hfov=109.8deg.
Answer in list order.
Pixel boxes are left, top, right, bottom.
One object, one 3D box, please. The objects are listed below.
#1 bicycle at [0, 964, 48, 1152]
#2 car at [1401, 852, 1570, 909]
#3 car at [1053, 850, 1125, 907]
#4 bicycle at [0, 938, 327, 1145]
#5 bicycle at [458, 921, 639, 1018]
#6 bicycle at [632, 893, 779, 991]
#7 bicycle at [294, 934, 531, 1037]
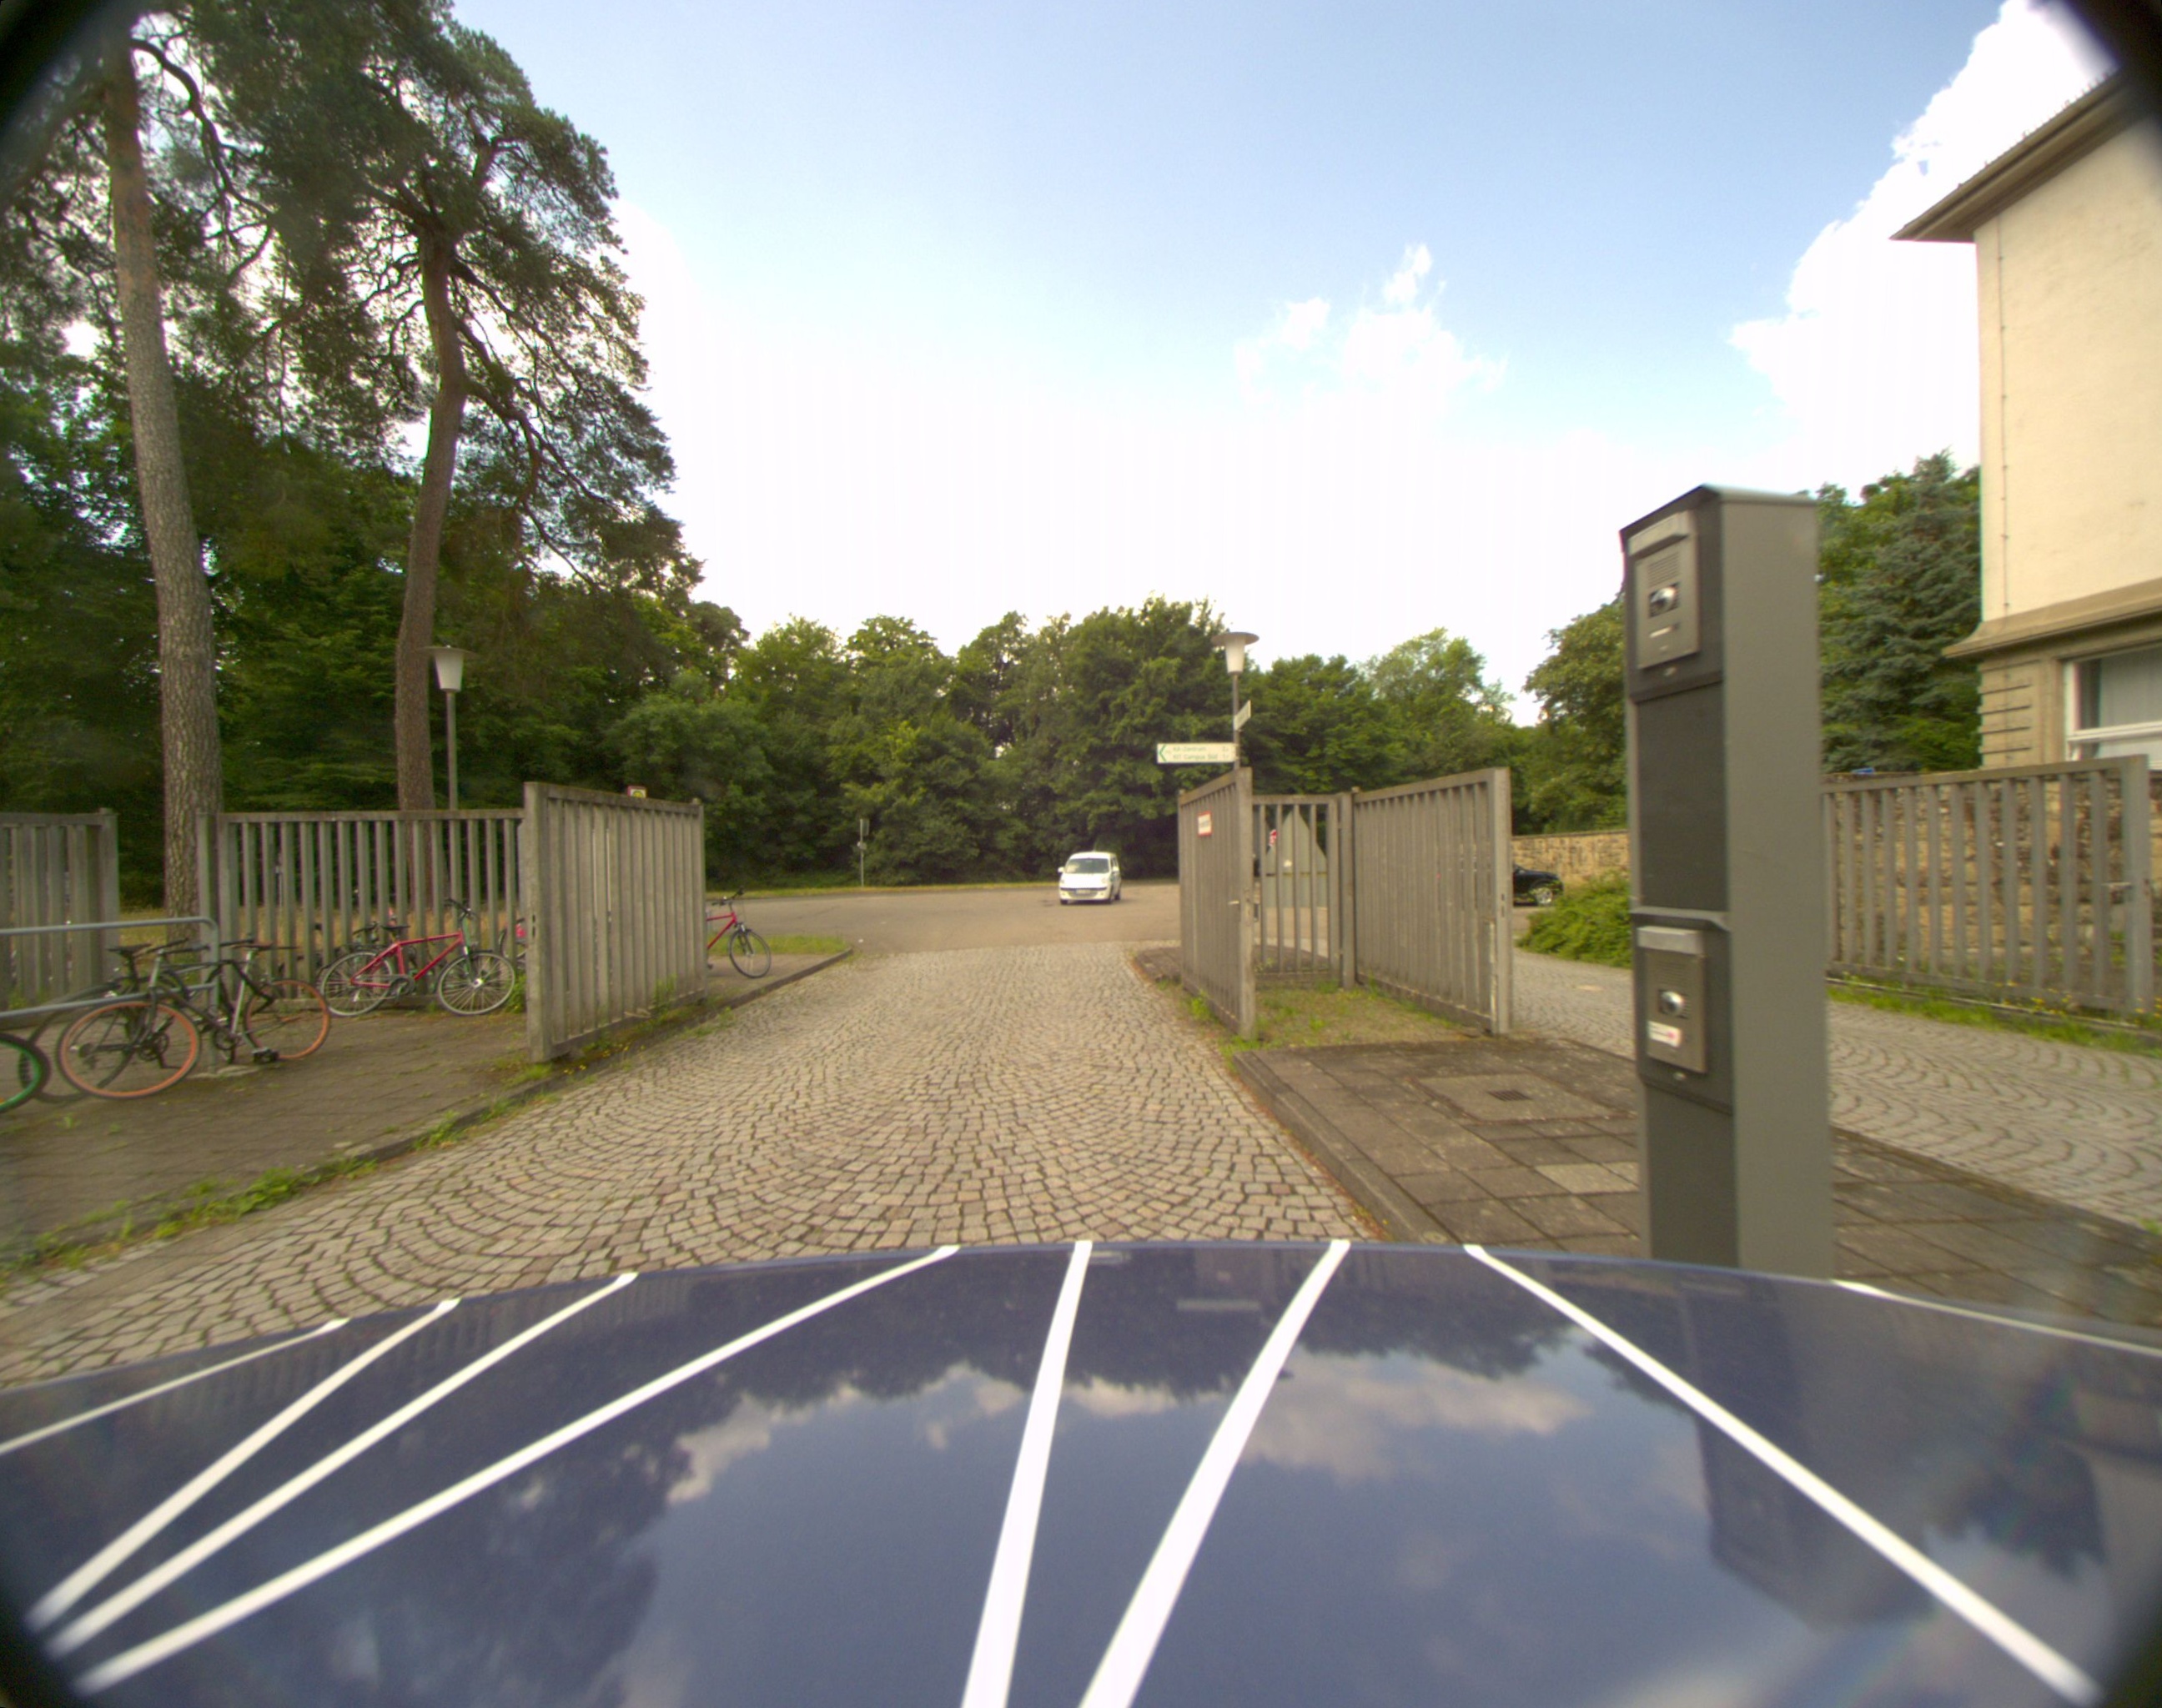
[{"bbox_3d":[-6.544,1.195,3.773,0.692,1.056,1.565,-1,0,-3],"label":"bicycle"},{"bbox_3d":[11.835,0.751,22.435,3.996,1.508,1.802,-2,0,3],"label":"car"},{"bbox_3d":[0.367,0.791,26.593,1.865,1.749,4.151,-1,1,10],"label":"car"},{"bbox_3d":[-6.485,1.228,5.450,0.474,1.051,1.732,-1,0,-3],"label":"bicycle"},{"bbox_3d":[-5.976,1.289,8.565,1.730,1.027,0.387,0,0,-2],"label":"bicycle"},{"bbox_3d":[-5.096,1.176,10.419,1.655,1.223,0.748,0,0,-11],"label":"bicycle"},{"bbox_3d":[-6.875,1.339,7.884,1.869,0.934,0.503,0,0,-9],"label":"bicycle"}]
